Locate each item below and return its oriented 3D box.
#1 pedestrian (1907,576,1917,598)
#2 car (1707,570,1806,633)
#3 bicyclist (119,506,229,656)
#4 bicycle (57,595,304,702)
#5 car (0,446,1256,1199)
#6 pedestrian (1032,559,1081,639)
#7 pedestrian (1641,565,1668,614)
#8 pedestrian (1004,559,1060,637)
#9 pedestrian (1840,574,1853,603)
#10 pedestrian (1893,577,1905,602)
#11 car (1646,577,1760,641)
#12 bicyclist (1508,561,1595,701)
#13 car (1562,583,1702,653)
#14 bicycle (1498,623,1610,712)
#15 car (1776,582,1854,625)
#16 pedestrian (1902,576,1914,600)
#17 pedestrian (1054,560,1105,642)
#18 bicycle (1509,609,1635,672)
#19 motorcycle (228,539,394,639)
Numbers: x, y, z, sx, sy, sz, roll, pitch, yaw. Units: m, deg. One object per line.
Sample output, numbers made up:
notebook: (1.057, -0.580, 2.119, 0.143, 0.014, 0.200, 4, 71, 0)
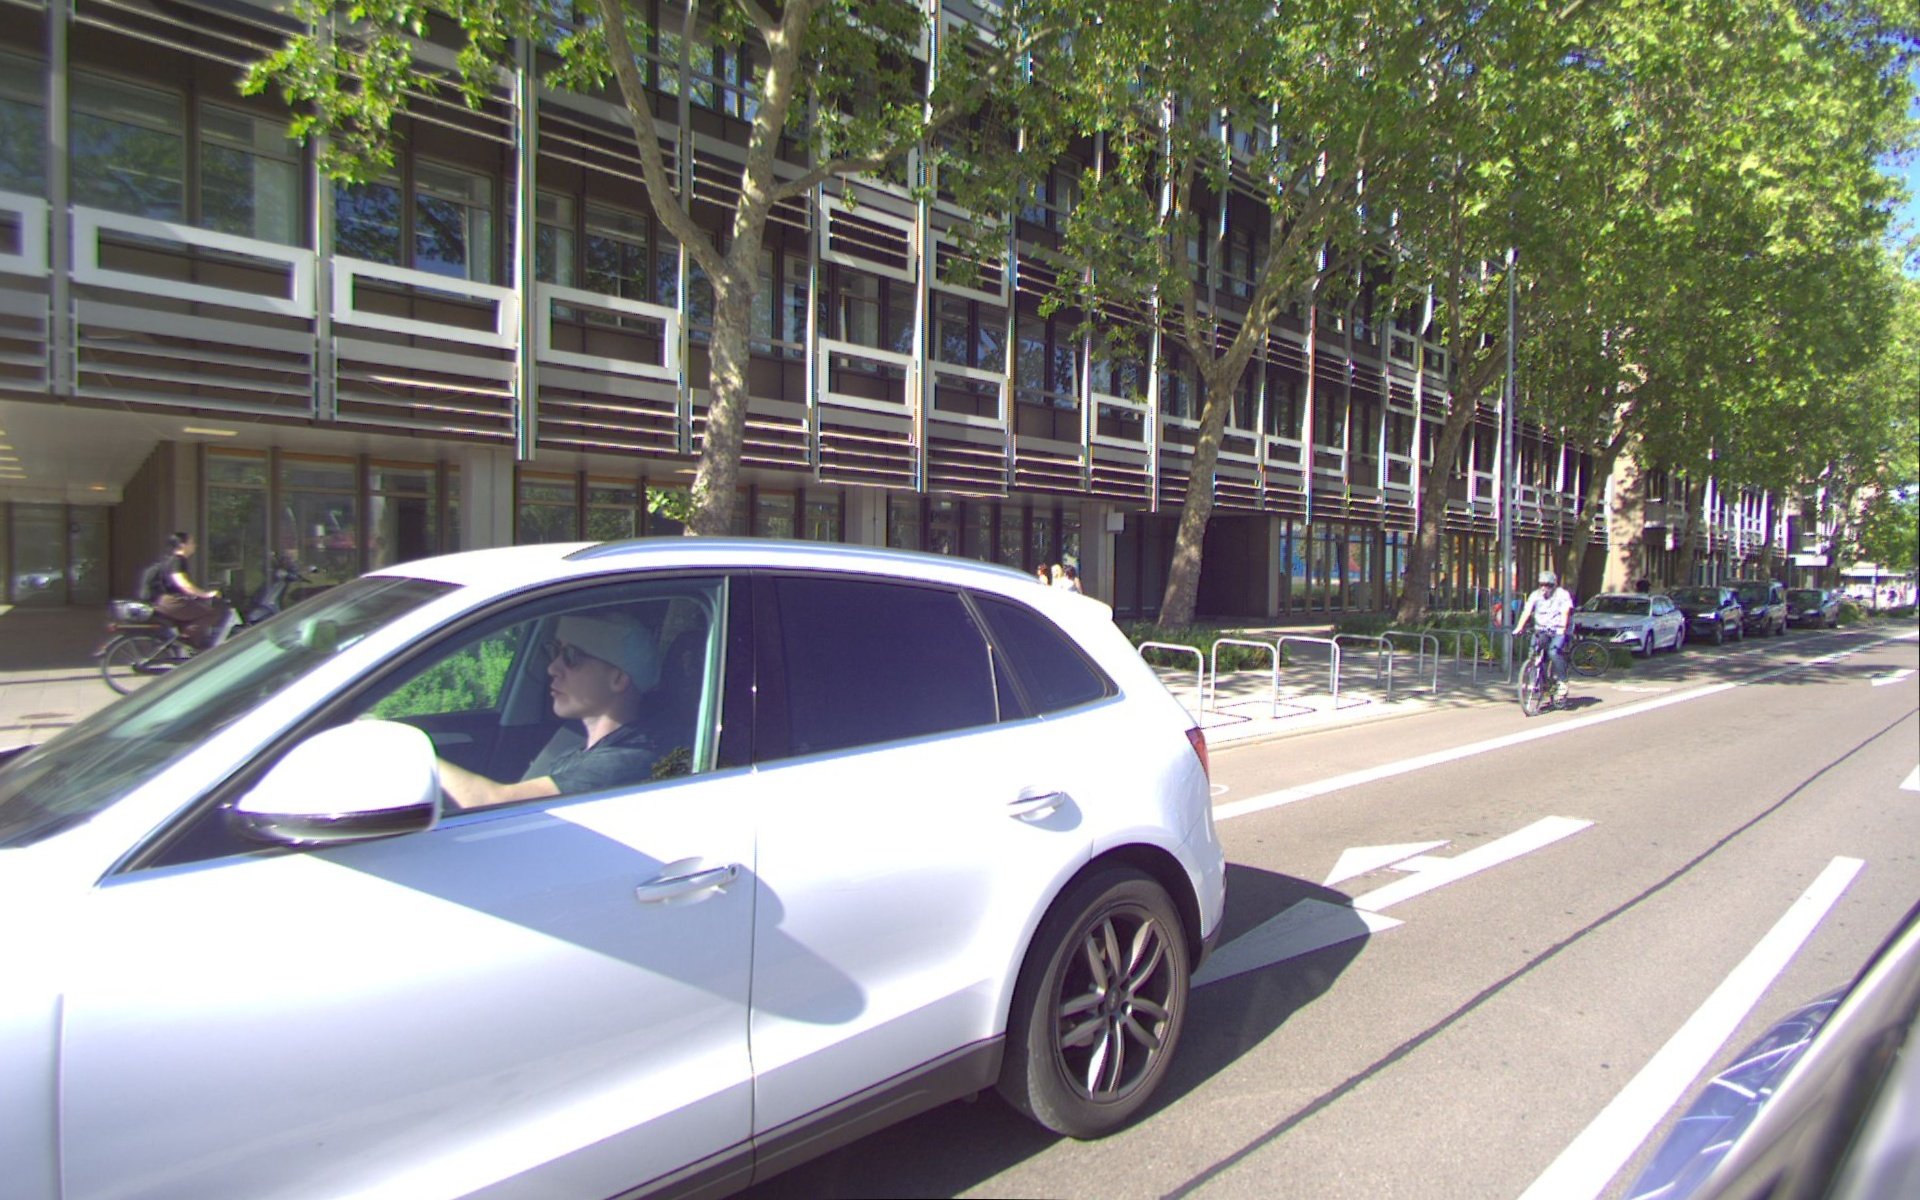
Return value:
pedestrian: (78.694, -1.086, 83.649, 0.559, 1.863, 0.590, 0, 0, -42)
car: (25.780, 0.009, 32.726, 4.262, 1.843, 1.751, 0, 3, -42)
bicyclist: (-8.295, -0.201, 10.675, 0.868, 1.495, 0.882, 0, 1, -41)
bicycle: (-8.221, 0.463, 10.742, 2.016, 0.997, 0.882, 0, 1, -42)
car: (-1.306, 0.600, 2.440, 4.335, 1.633, 1.823, 0, 1, -41)
pedestrian: (2.036, -0.036, 21.286, 0.715, 1.620, 0.667, 0, 3, -42)
pedestrian: (29.392, -0.462, 42.817, 0.614, 2.039, 0.742, 0, 0, -34)
pedestrian: (1.556, -0.059, 21.894, 0.991, 1.620, 0.667, 0, 3, -41)
pedestrian: (58.709, -0.766, 67.028, 0.686, 1.863, 0.590, 0, 1, -42)
pedestrian: (70.021, -0.795, 75.446, 0.684, 1.863, 0.590, 0, 1, -42)
car: (21.413, 0.202, 29.114, 4.262, 1.653, 1.751, -1, 3, -42)
bicyclist: (7.526, 0.377, 12.878, 0.838, 1.709, 0.710, 0, -1, -43)
car: (16.498, 0.379, 24.758, 4.481, 1.508, 1.751, -1, 3, -42)
bicycle: (7.604, 0.823, 12.927, 1.891, 1.006, 0.710, 0, -1, -43)
car: (34.071, 0.115, 40.275, 4.262, 1.573, 1.751, -1, 3, -42)
pedestrian: (73.178, -0.916, 78.124, 0.559, 1.863, 0.590, 0, 0, -42)
pedestrian: (2.445, 0.006, 20.726, 0.715, 1.620, 0.667, 0, 3, -41)
bicycle: (11.230, 0.720, 18.610, 1.845, 0.972, 0.700, 4, 3, 45)
motorcycle: (-10.033, -0.178, 15.698, 2.085, 1.459, 0.824, -1, 1, -41)
